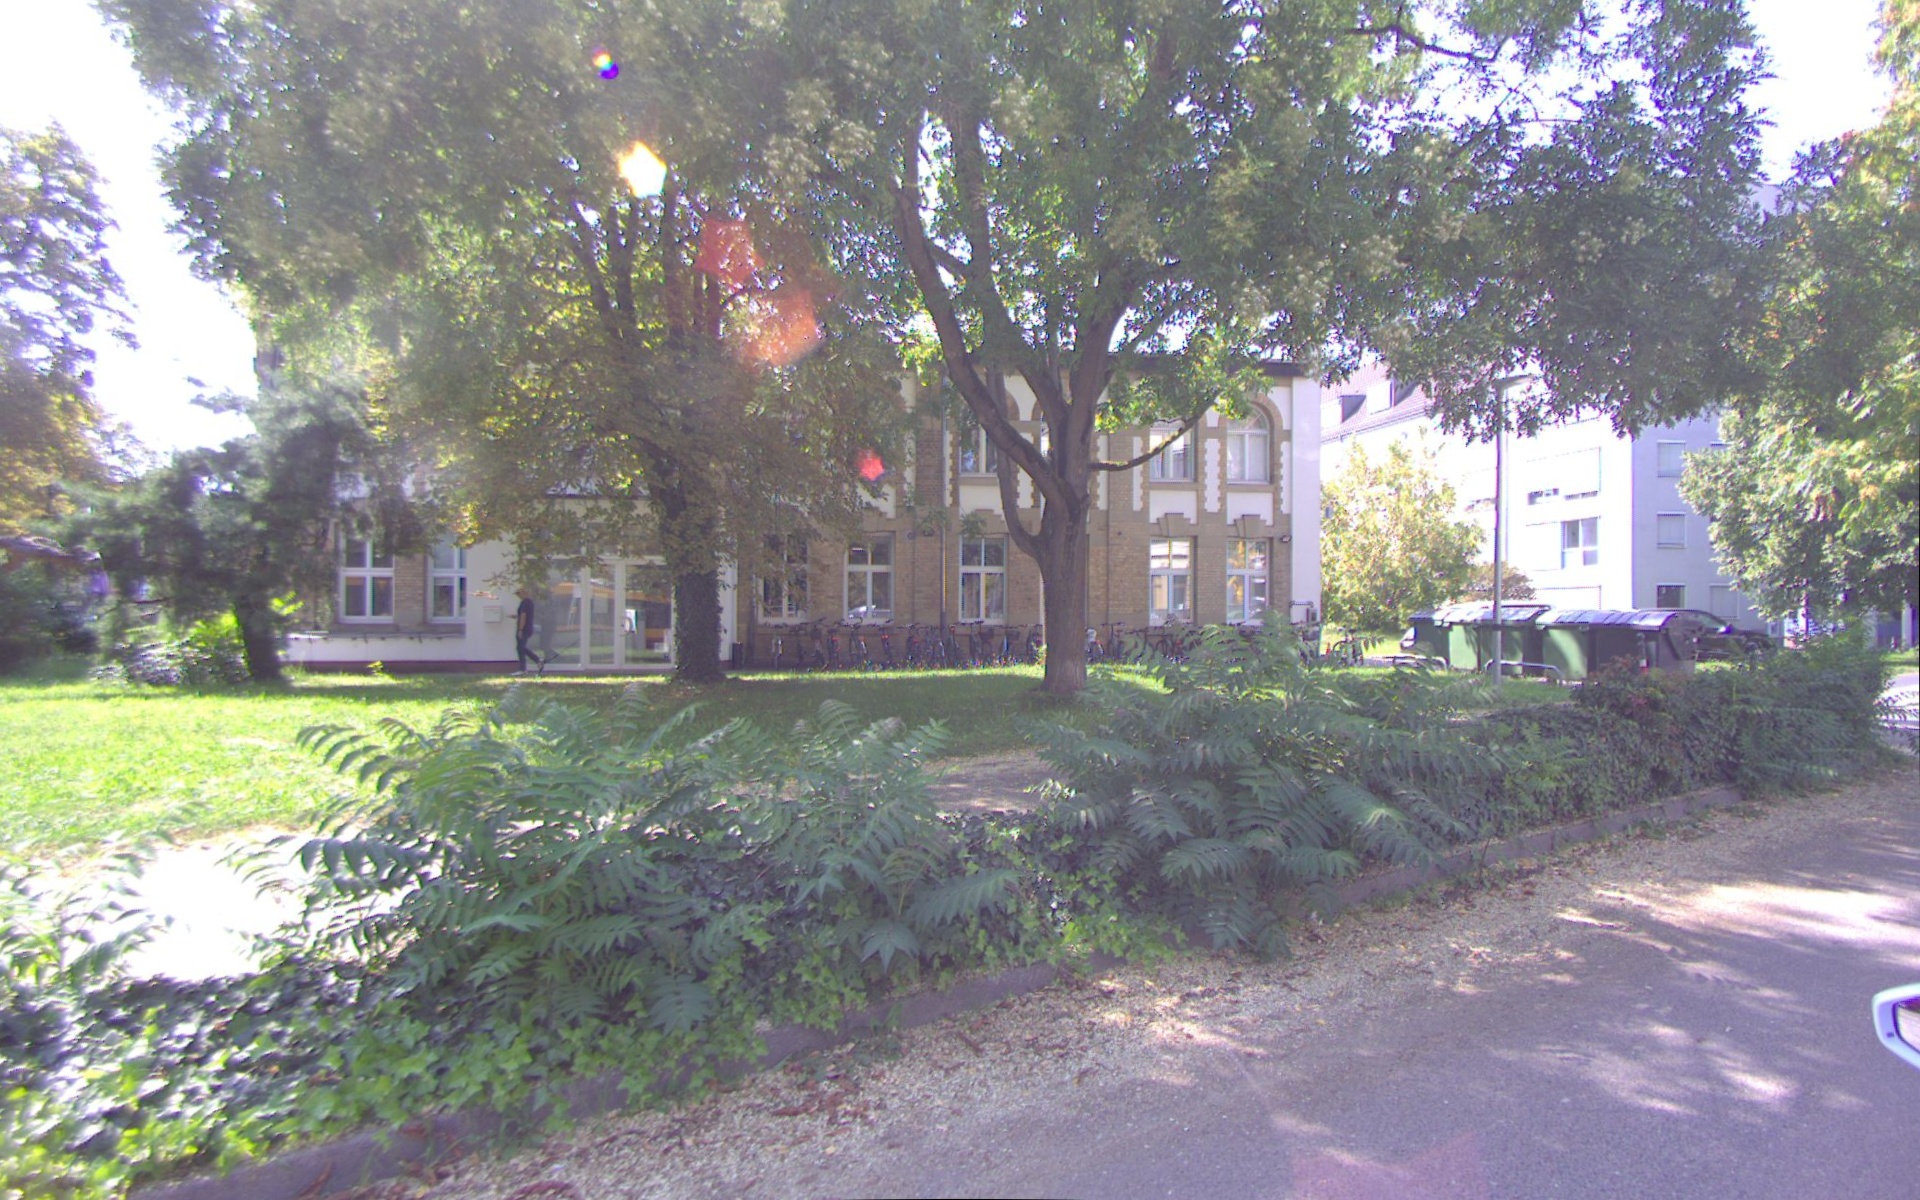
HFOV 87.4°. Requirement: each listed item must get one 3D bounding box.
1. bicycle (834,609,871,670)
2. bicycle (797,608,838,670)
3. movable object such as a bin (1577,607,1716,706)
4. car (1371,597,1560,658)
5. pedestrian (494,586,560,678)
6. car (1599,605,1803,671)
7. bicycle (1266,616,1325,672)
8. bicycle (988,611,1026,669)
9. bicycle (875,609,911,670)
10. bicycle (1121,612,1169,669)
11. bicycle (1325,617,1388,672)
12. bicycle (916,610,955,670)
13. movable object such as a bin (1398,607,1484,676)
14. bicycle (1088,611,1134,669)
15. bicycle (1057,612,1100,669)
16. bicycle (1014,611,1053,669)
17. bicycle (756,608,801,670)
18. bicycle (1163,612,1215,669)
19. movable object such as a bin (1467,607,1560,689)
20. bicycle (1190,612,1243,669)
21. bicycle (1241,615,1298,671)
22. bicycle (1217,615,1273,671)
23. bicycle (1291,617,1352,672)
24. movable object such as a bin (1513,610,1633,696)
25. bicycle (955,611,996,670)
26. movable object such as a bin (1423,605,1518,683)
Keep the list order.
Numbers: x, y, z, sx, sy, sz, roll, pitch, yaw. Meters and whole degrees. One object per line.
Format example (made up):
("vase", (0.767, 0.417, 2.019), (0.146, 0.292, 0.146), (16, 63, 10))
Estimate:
("bicycle", (-2.437, 0.886, 22.996), (0.757, 1.320, 2.525), (1, -1, -5))
("bicycle", (-3.206, 0.872, 22.755), (0.757, 1.320, 2.525), (1, -1, -5))
("movable object such as a bin", (11.128, 0.881, 16.318), (1.316, 1.513, 1.366), (1, 0, -23))
("car", (16.452, 0.901, 32.858), (4.989, 1.906, 2.500), (0, -1, -6))
("pedestrian", (-8.967, 0.658, 20.832), (1.109, 1.853, 0.735), (0, 0, -9))
("car", (18.263, 0.927, 24.858), (3.836, 1.548, 1.707), (0, -1, -2))
("bicycle", (8.275, 1.080, 24.876), (0.597, 1.320, 2.172), (1, -1, -5))
("bicycle", (1.090, 0.934, 23.920), (0.615, 1.320, 2.272), (1, -1, -5))
("bicycle", (-1.566, 0.897, 23.216), (0.757, 1.320, 2.525), (1, -1, -5))
("bicycle", (4.459, 0.959, 24.324), (0.597, 1.320, 2.172), (1, -1, -5))
("bicycle", (9.902, 1.102, 25.171), (0.597, 1.320, 2.172), (1, -1, -5))
("bicycle", (-0.601, 0.921, 23.632), (0.757, 1.320, 2.525), (1, -1, -5))
("movable object such as a bin", (10.634, 0.903, 22.265), (1.229, 1.463, 1.203), (1, 0, -14))
("bicycle", (3.615, 0.954, 24.186), (0.597, 1.320, 2.172), (1, -1, -5))
("bicycle", (2.846, 0.961, 24.281), (0.597, 1.320, 2.172), (1, -1, -5))
("bicycle", (1.731, 0.946, 24.028), (0.597, 1.320, 2.172), (1, -1, -5))
("bicycle", (-4.086, 0.862, 22.801), (0.757, 1.320, 2.525), (1, -1, -5))
("bicycle", (5.541, 0.969, 24.409), (0.597, 1.320, 2.172), (1, -1, -5))
("movable object such as a bin", (10.490, 0.889, 19.067), (1.082, 1.501, 1.098), (1, 0, -14))
("bicycle", (6.270, 0.981, 24.639), (0.597, 1.320, 2.172), (1, -1, -5))
("bicycle", (7.605, 1.050, 24.787), (0.597, 1.320, 2.172), (1, -1, -5))
("bicycle", (6.947, 1.040, 24.608), (0.597, 1.320, 2.172), (1, -1, -5))
("bicycle", (8.942, 1.088, 24.951), (0.597, 1.320, 2.172), (1, -1, -5))
("movable object such as a bin", (10.889, 0.911, 17.892), (1.229, 1.451, 1.328), (1, 0, -15))
("bicycle", (0.338, 0.938, 23.761), (0.757, 1.320, 2.272), (1, -1, -5))
("movable object such as a bin", (10.393, 0.877, 20.488), (1.228, 1.515, 1.203), (1, 0, -14))
